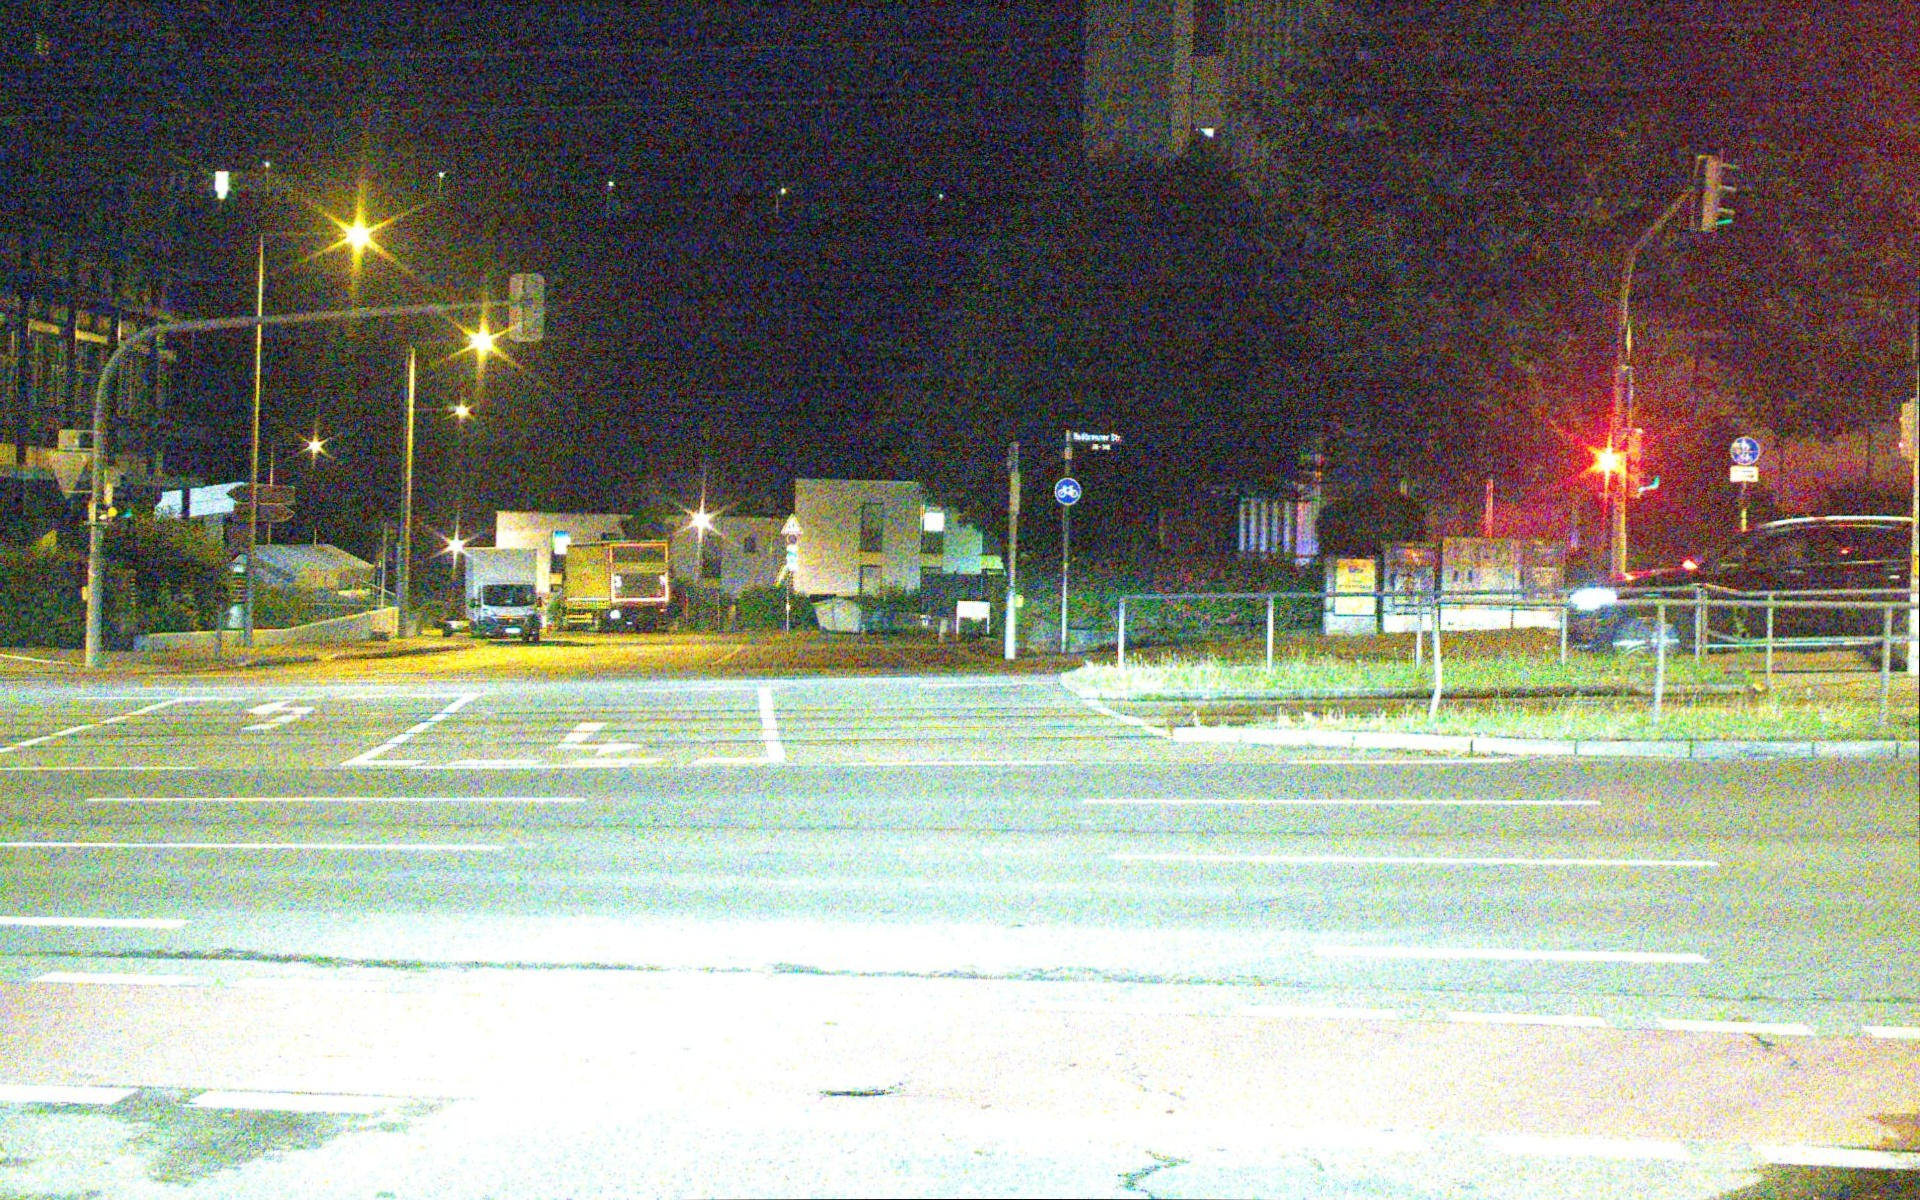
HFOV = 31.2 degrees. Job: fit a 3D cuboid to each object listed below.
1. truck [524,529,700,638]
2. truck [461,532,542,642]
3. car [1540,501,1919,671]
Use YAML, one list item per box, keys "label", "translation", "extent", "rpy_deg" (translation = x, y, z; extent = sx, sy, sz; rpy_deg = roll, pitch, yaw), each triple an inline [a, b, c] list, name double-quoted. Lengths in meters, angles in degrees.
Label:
- label: "truck"
  translation: [-15.451, -0.773, 151.234]
  extent: [4.821, 4.531, 12.669]
  rpy_deg: [1, 1, -19]
- label: "truck"
  translation: [-15.937, -0.480, 119.275]
  extent: [2.582, 3.694, 5.739]
  rpy_deg: [1, 1, -9]
- label: "car"
  translation: [8.650, -0.153, 36.764]
  extent: [4.618, 1.722, 2.000]
  rpy_deg: [1, 0, 3]
